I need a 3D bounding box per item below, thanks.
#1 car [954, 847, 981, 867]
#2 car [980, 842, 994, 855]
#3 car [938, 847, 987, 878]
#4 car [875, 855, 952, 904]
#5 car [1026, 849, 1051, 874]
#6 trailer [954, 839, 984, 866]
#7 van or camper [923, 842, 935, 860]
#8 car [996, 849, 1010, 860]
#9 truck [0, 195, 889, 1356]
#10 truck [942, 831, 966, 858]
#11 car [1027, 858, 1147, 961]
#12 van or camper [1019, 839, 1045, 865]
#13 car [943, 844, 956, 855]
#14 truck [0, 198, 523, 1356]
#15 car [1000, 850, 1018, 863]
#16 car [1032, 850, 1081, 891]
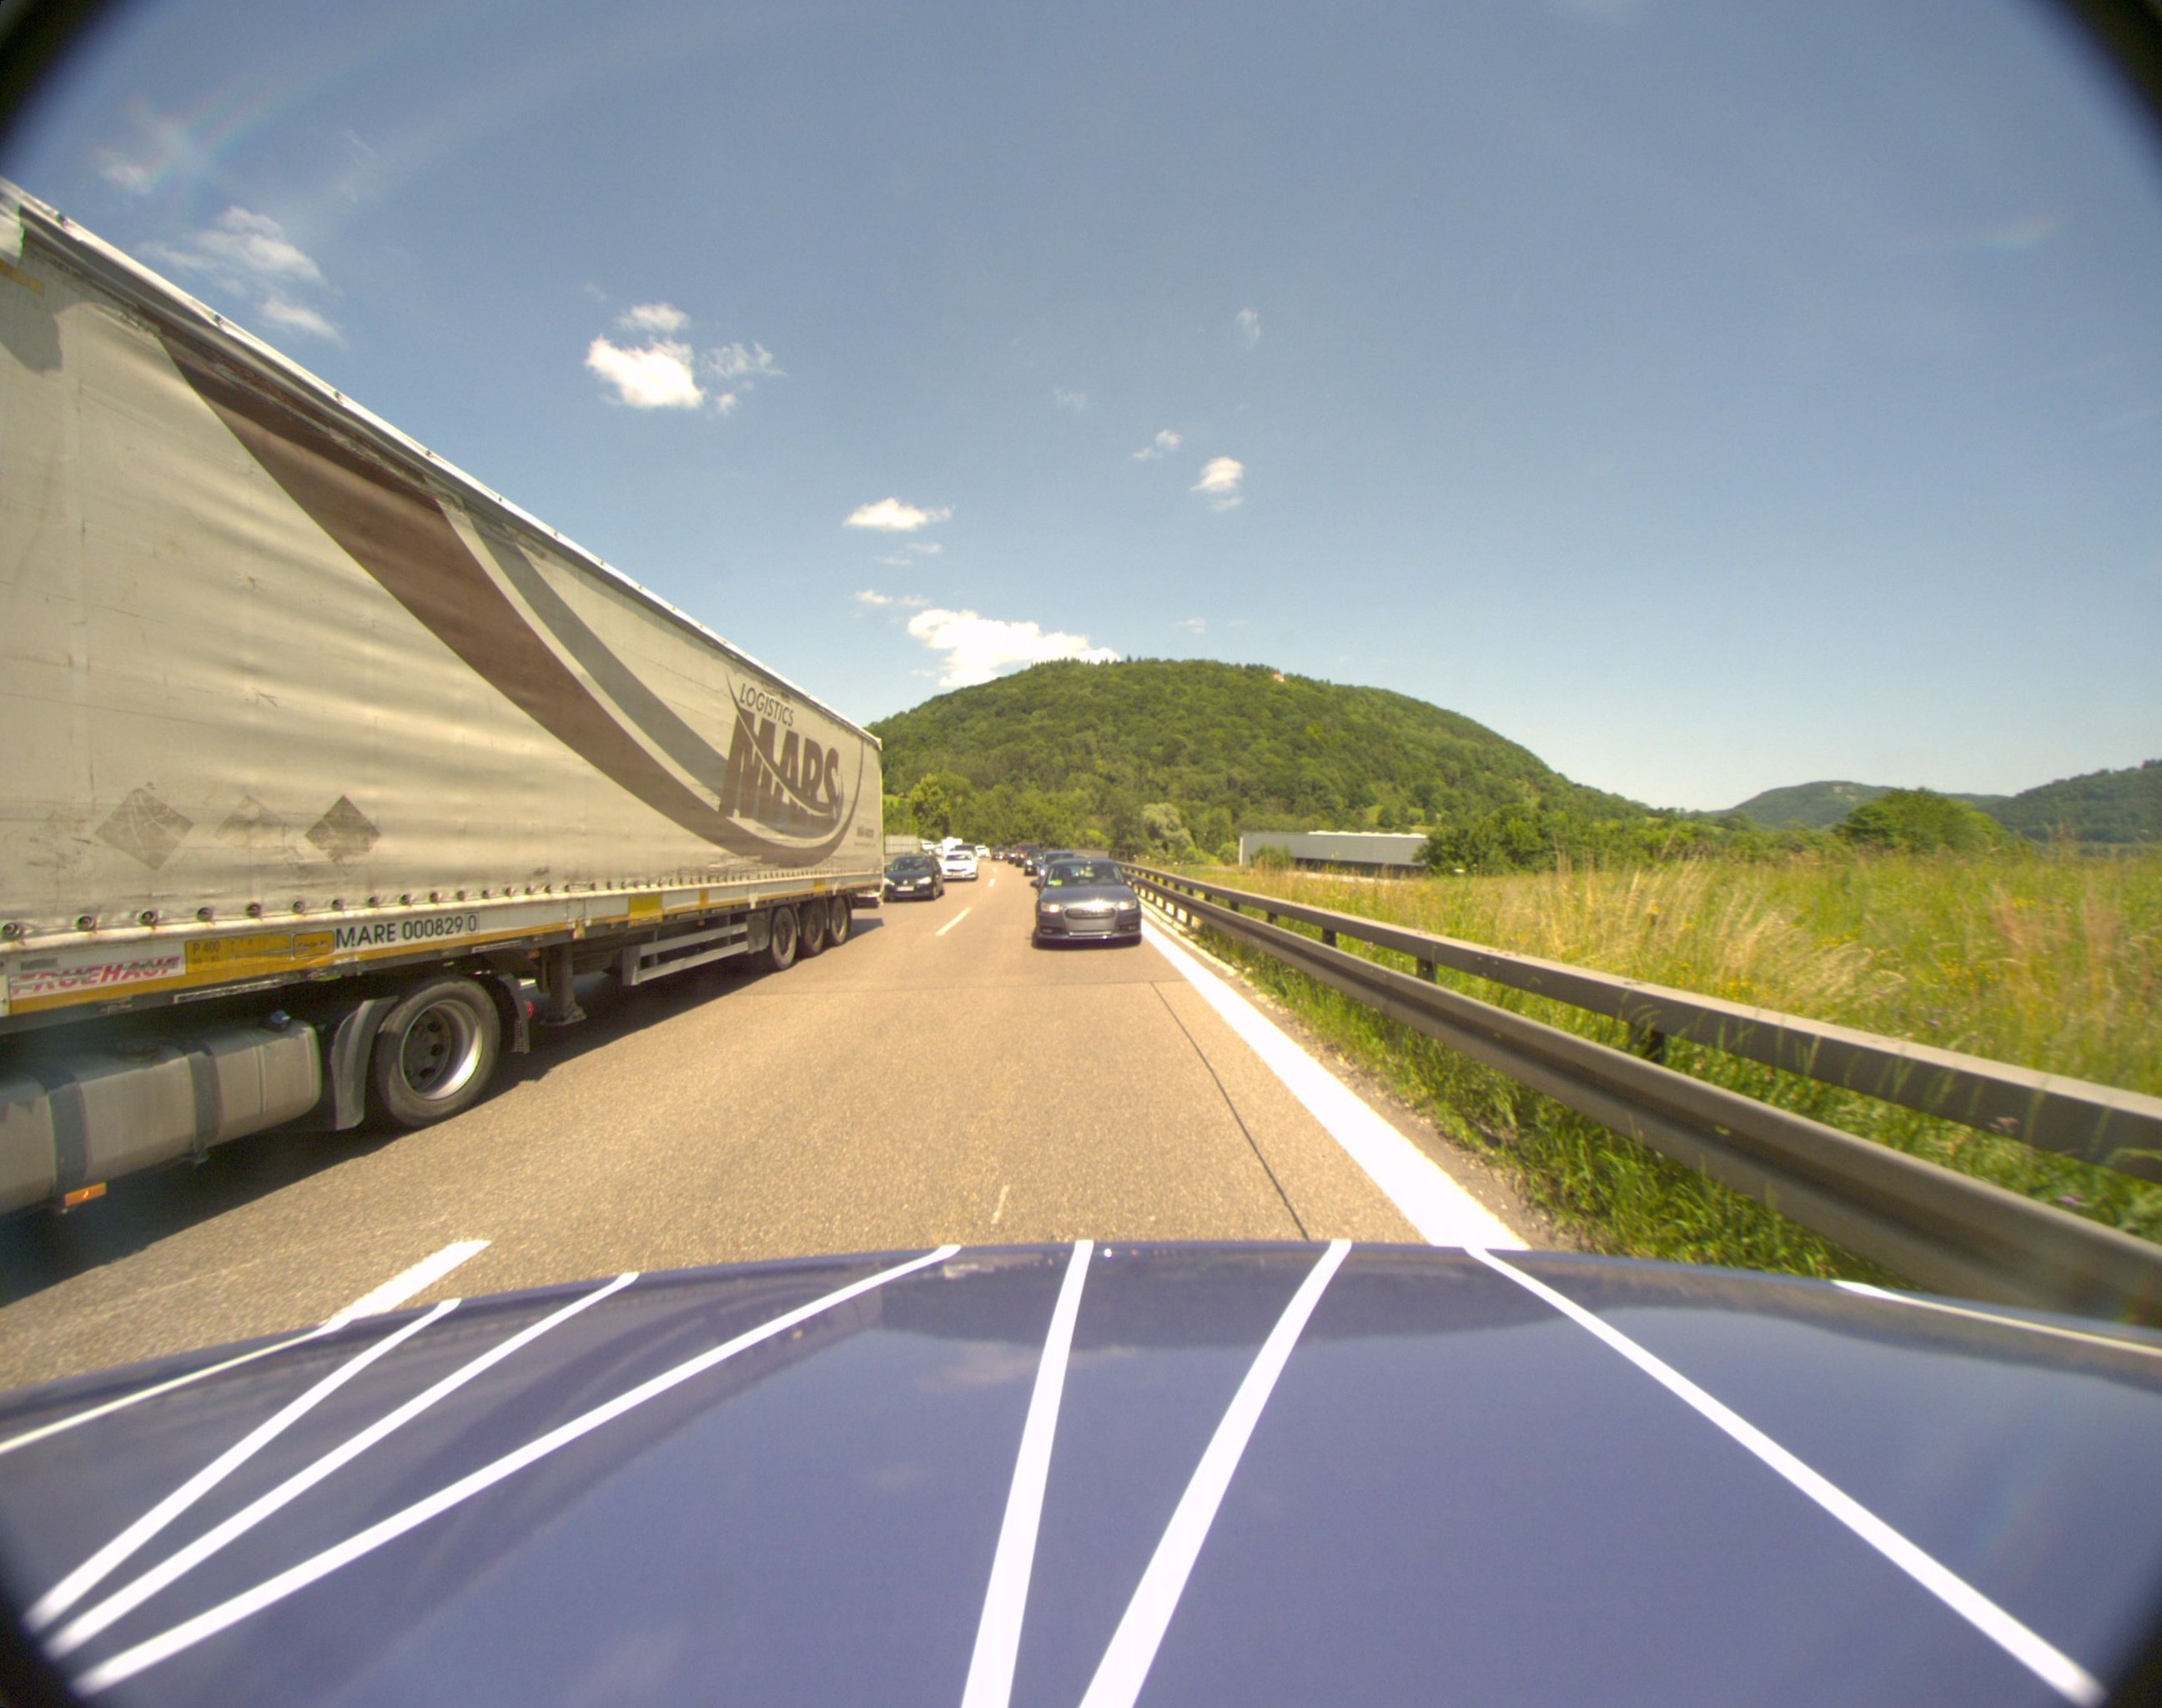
[{"bbox_3d":[-8.083,0.204,54.342,1.489,1.375,3.737,1,1,-3],"label":"car"},{"bbox_3d":[-12.668,-0.784,102.247,1.532,1.627,3.415,-4,1,-11],"label":"car"},{"bbox_3d":[-5.861,0.407,38.014,1.907,1.422,3.721,-2,0,-1],"label":"car"},{"bbox_3d":[-5.398,0.777,24.920,1.696,1.414,3.838,-2,0,-1],"label":"car"},{"bbox_3d":[-2.341,0.392,41.815,1.287,1.305,3.451,-2,0,-3],"label":"car"},{"bbox_3d":[-8.503,-0.151,58.188,1.999,1.958,3.998,1,1,-5],"label":"trailer"},{"bbox_3d":[-26.376,-0.457,132.124,1.911,3.010,4.869,-1,0,-11],"label":"van or camper"},{"bbox_3d":[-8.891,0.052,86.293,1.492,1.102,3.211,-2,1,-7],"label":"car"},{"bbox_3d":[-5.301,-0.355,9.171,2.733,4.044,13.737,-1,1,-2],"label":"truck"},{"bbox_3d":[-16.008,-1.164,95.708,2.604,3.089,6.852,-4,1,-10],"label":"truck"},{"bbox_3d":[0.062,0.845,13.374,1.755,1.382,4.053,-2,1,-1],"label":"car"},{"bbox_3d":[-3.640,-0.144,57.128,1.818,1.855,3.612,-2,0,-3],"label":"van or camper"},{"bbox_3d":[-19.821,-0.735,114.412,1.699,1.523,3.677,-4,1,-8],"label":"car"},{"bbox_3d":[-5.119,-0.256,2.188,2.726,4.044,5.752,-1,1,-2],"label":"truck"},{"bbox_3d":[-6.430,0.230,67.860,1.491,1.102,3.212,-2,1,-4],"label":"car"},{"bbox_3d":[-0.896,0.576,28.526,1.696,1.422,3.462,-2,0,-1],"label":"car"}]
